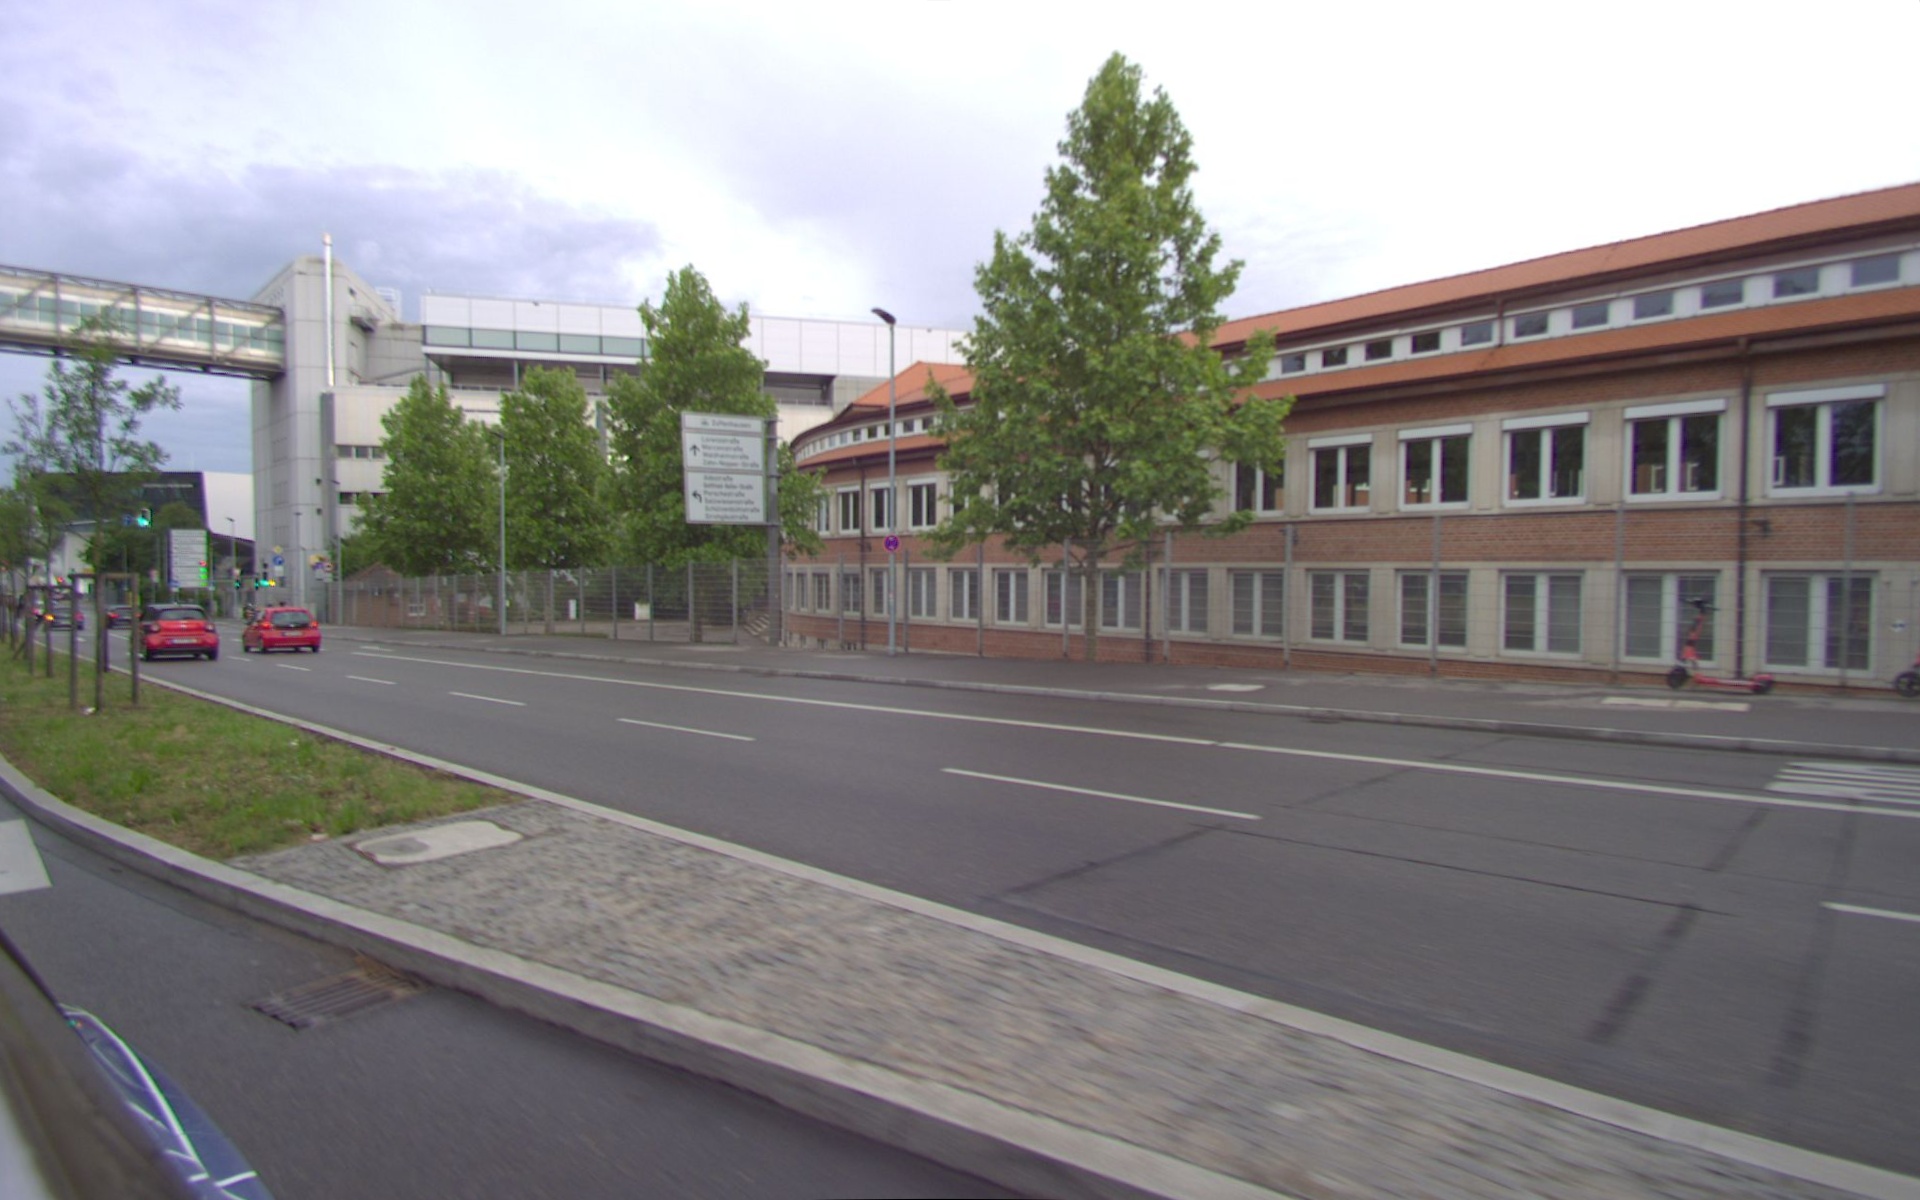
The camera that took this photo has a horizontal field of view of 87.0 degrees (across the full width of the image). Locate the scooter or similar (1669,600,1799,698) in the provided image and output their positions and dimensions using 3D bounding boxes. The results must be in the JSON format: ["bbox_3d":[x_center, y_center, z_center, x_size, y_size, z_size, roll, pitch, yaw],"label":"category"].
[{"bbox_3d":[10.119,0.632,13.262,1.308,1.227,0.308,-2,-1,45],"label":"scooter or similar"}]

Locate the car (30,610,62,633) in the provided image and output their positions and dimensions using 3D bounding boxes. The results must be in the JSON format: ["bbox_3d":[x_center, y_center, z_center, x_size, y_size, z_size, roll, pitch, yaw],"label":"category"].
[{"bbox_3d":[-69.694,1.612,77.150,1.751,1.601,4.489,0,0,-44],"label":"car"}]

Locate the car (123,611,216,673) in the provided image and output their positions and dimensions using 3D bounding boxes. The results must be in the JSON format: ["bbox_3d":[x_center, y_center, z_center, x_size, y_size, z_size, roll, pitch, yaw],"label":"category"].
[{"bbox_3d":[-22.210,1.133,28.384,3.857,1.617,1.567,-1,-1,45],"label":"car"}]

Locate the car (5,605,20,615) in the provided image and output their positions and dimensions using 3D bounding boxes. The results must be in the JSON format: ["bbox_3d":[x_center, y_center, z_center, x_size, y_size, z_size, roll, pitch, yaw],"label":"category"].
[{"bbox_3d":[-160.697,1.704,171.652,1.751,1.601,4.489,0,0,-44],"label":"car"}]

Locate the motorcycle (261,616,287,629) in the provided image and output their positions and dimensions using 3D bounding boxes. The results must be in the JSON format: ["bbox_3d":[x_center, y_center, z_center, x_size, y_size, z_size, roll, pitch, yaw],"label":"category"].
[{"bbox_3d":[-56.191,1.817,82.879,2.153,1.035,0.623,0,0,18],"label":"motorcycle"}]

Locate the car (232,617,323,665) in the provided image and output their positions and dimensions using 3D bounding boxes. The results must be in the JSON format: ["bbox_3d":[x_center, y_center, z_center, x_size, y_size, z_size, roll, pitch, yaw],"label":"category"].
[{"bbox_3d":[-22.267,1.285,32.967,3.773,1.448,1.696,-1,-1,44],"label":"car"}]

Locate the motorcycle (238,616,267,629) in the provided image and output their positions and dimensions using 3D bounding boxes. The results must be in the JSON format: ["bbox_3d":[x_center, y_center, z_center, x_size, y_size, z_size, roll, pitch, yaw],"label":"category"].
[{"bbox_3d":[-58.390,1.830,83.474,2.147,1.035,0.625,0,0,10],"label":"motorcycle"}]

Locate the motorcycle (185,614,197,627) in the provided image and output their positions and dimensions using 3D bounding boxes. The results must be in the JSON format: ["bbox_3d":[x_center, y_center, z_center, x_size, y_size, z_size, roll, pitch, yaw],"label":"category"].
[{"bbox_3d":[-67.951,1.800,89.417,2.039,1.171,0.561,0,0,44],"label":"motorcycle"}]

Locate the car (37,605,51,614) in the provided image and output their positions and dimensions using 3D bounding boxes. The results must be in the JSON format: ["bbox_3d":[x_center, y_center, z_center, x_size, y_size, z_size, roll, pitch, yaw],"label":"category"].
[{"bbox_3d":[-166.894,1.672,184.443,1.751,1.601,4.489,0,0,-44],"label":"car"}]

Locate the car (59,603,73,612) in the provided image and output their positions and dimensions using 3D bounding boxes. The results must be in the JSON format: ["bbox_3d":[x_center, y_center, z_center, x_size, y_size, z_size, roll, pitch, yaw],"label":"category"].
[{"bbox_3d":[-162.105,1.275,183.427,1.751,1.601,4.489,0,0,-44],"label":"car"}]

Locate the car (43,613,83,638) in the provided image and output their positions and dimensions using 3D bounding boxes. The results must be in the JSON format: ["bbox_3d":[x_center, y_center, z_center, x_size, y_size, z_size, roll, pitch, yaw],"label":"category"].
[{"bbox_3d":[-52.963,1.468,59.718,1.559,1.414,4.114,0,-1,-45],"label":"car"}]

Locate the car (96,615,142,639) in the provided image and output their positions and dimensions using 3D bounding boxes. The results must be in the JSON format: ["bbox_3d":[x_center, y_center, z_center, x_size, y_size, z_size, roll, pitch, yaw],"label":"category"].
[{"bbox_3d":[-51.989,1.655,62.540,1.753,1.414,4.617,0,-1,-45],"label":"car"}]
